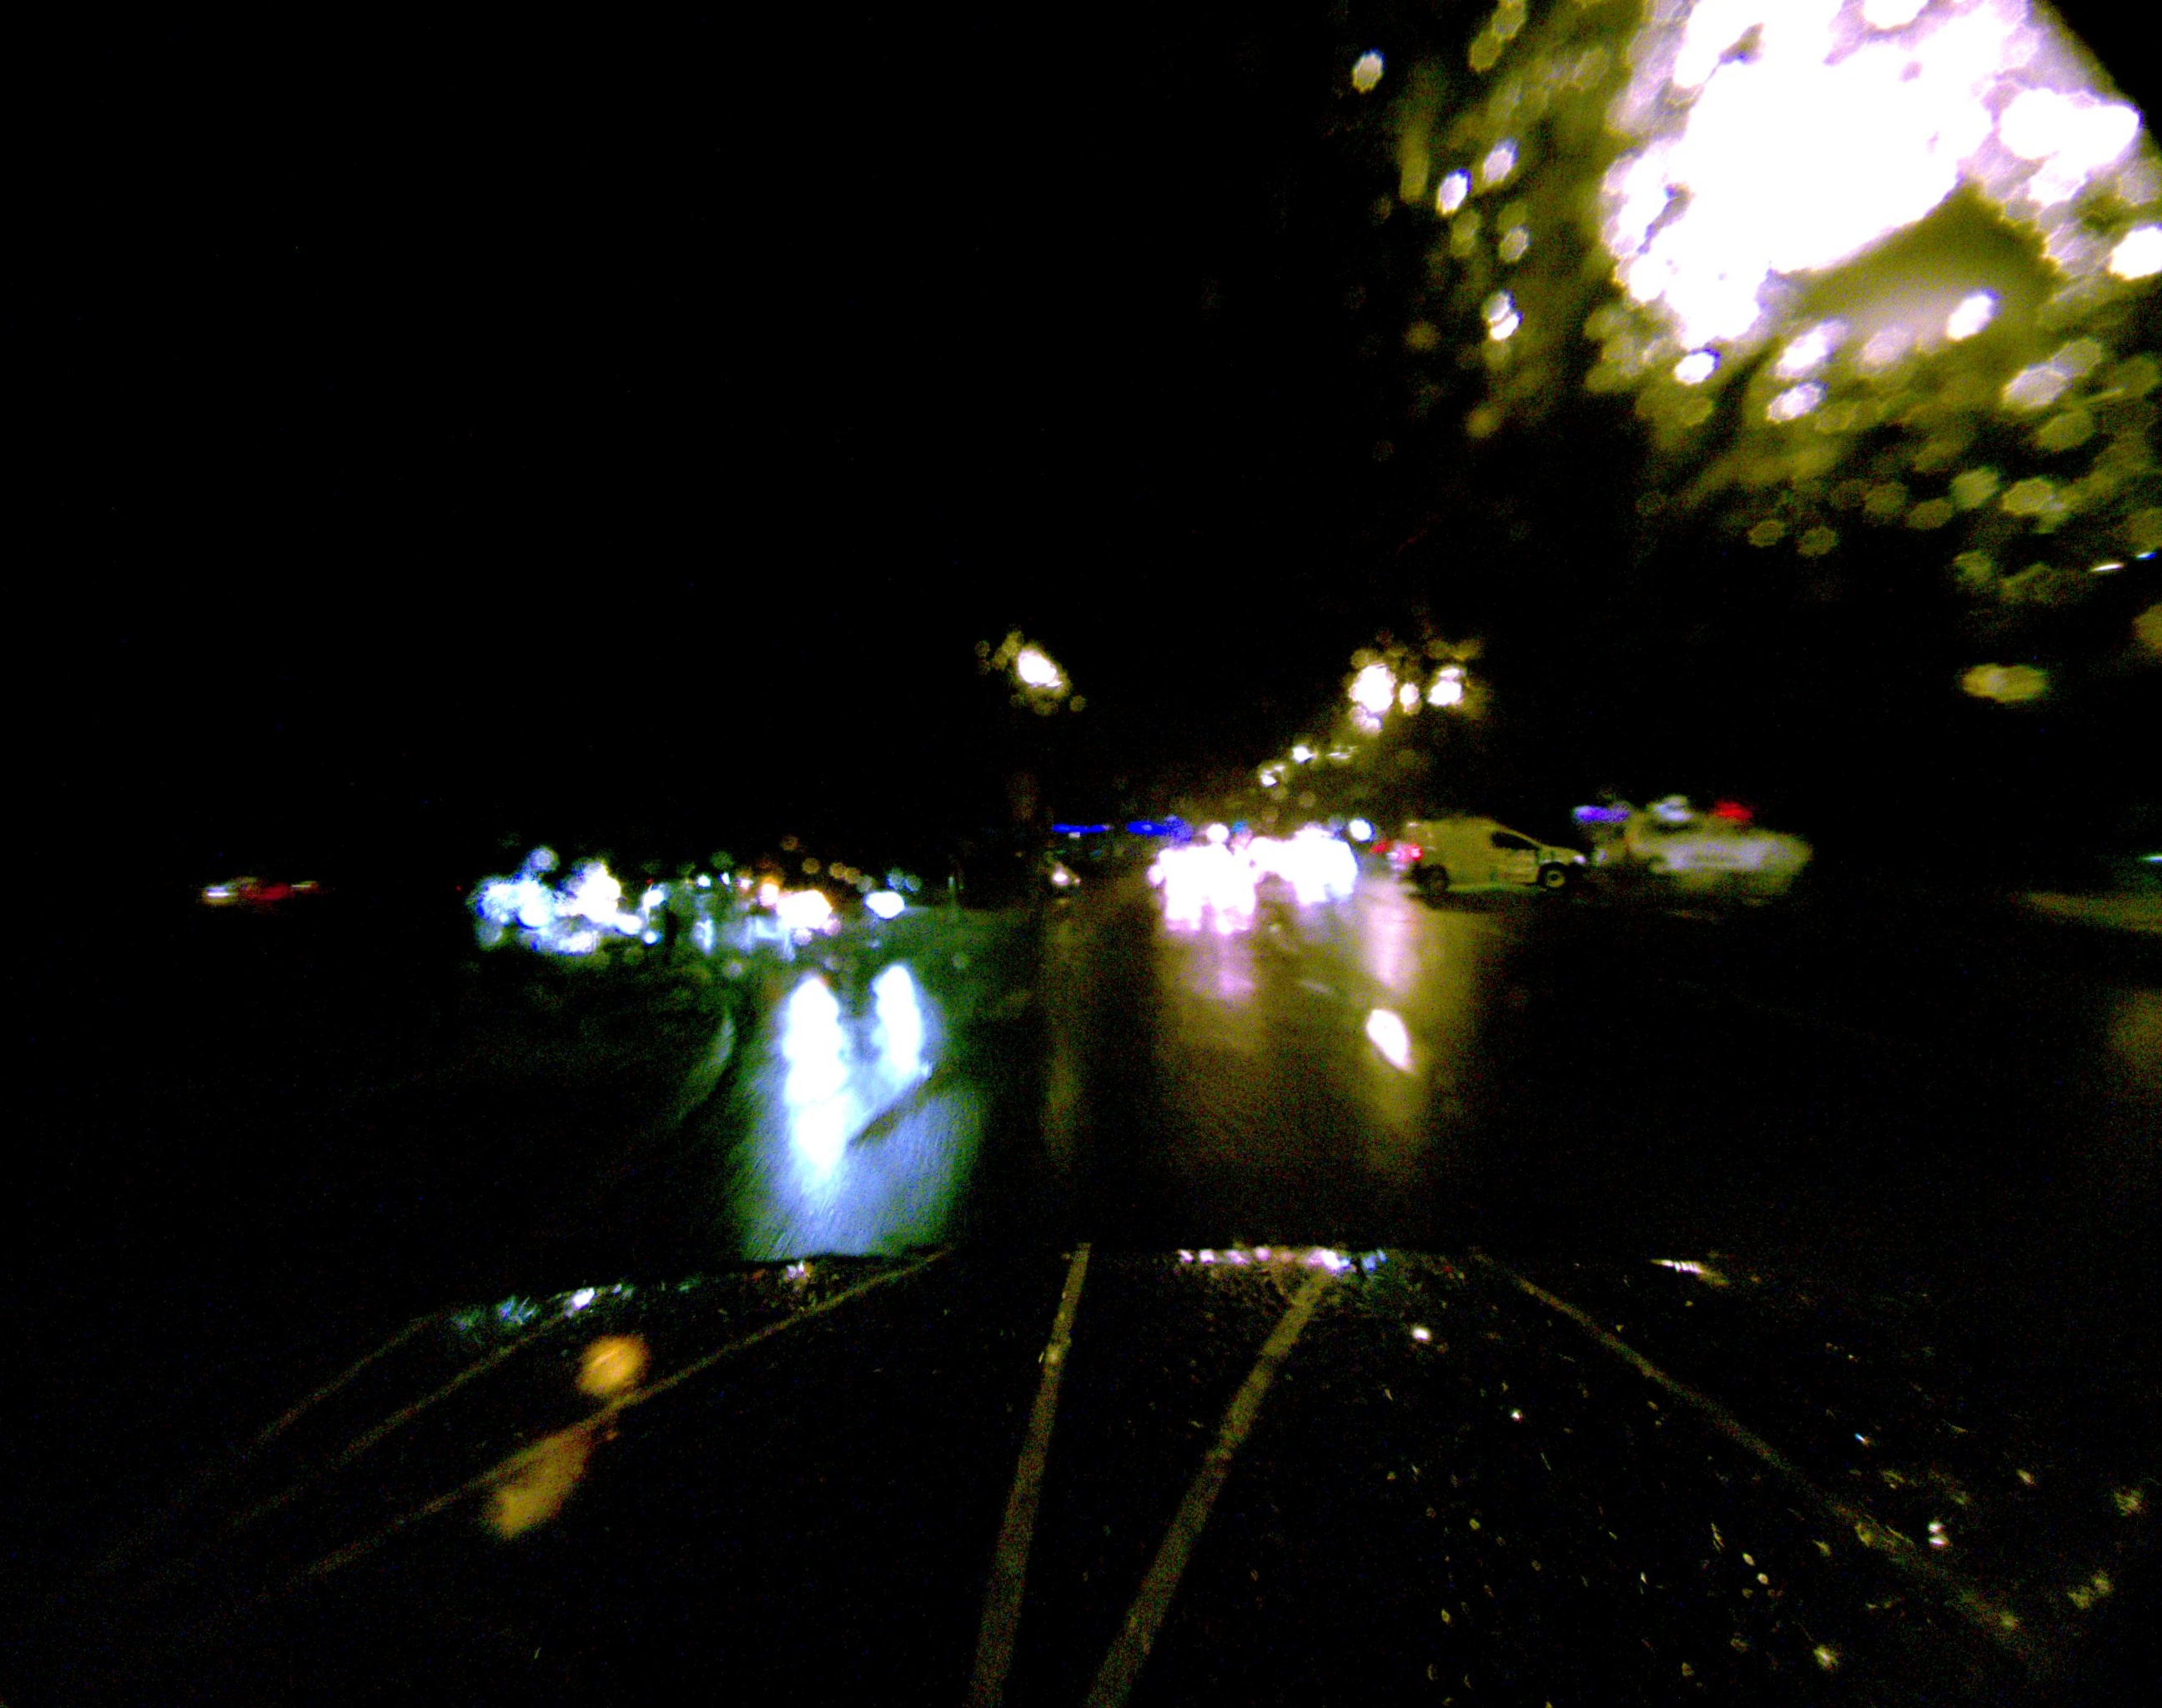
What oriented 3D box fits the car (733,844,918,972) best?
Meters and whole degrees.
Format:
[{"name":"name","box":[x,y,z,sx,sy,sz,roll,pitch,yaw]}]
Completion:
[{"name":"car","box":[-4.943,0.899,14.267,2.008,1.914,4.358,-4,1,-35]}]

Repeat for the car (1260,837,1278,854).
[{"name":"car","box":[22.193,-1.037,89.823,1.844,1.683,4.001,-4,2,11]}]

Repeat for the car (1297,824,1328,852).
[{"name":"car","box":[17.834,-1.256,58.703,1.791,2.013,4.148,-2,2,10]}]

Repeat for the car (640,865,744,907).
[{"name":"car","box":[-17.294,1.424,33.789,4.119,1.696,1.852,-2,1,25]}]

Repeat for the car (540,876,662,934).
[{"name":"car","box":[-14.986,1.578,23.671,3.977,1.524,1.691,-3,3,36]}]

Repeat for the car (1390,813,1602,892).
[{"name":"car","box":[10.649,-0.043,19.870,4.549,1.821,1.784,-2,2,16]}]

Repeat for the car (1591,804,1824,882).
[{"name":"car","box":[17.784,-0.314,21.839,4.713,1.783,2.001,-4,2,14]}]

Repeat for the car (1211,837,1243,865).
[{"name":"car","box":[9.678,-0.253,50.548,1.956,1.624,4.260,-2,2,10]}]

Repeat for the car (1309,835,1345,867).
[{"name":"car","box":[16.289,-0.248,50.401,1.665,1.843,4.148,-2,2,10]}]

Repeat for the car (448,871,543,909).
[{"name":"car","box":[-27.166,1.668,35.228,4.165,1.437,1.683,-4,3,26]}]

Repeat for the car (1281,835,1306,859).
[{"name":"car","box":[18.843,-0.656,67.488,1.710,1.927,3.611,-2,2,9]}]

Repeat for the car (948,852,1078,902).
[{"name":"car","box":[-2.407,0.851,26.851,4.228,1.585,1.793,-2,-3,23]}]
